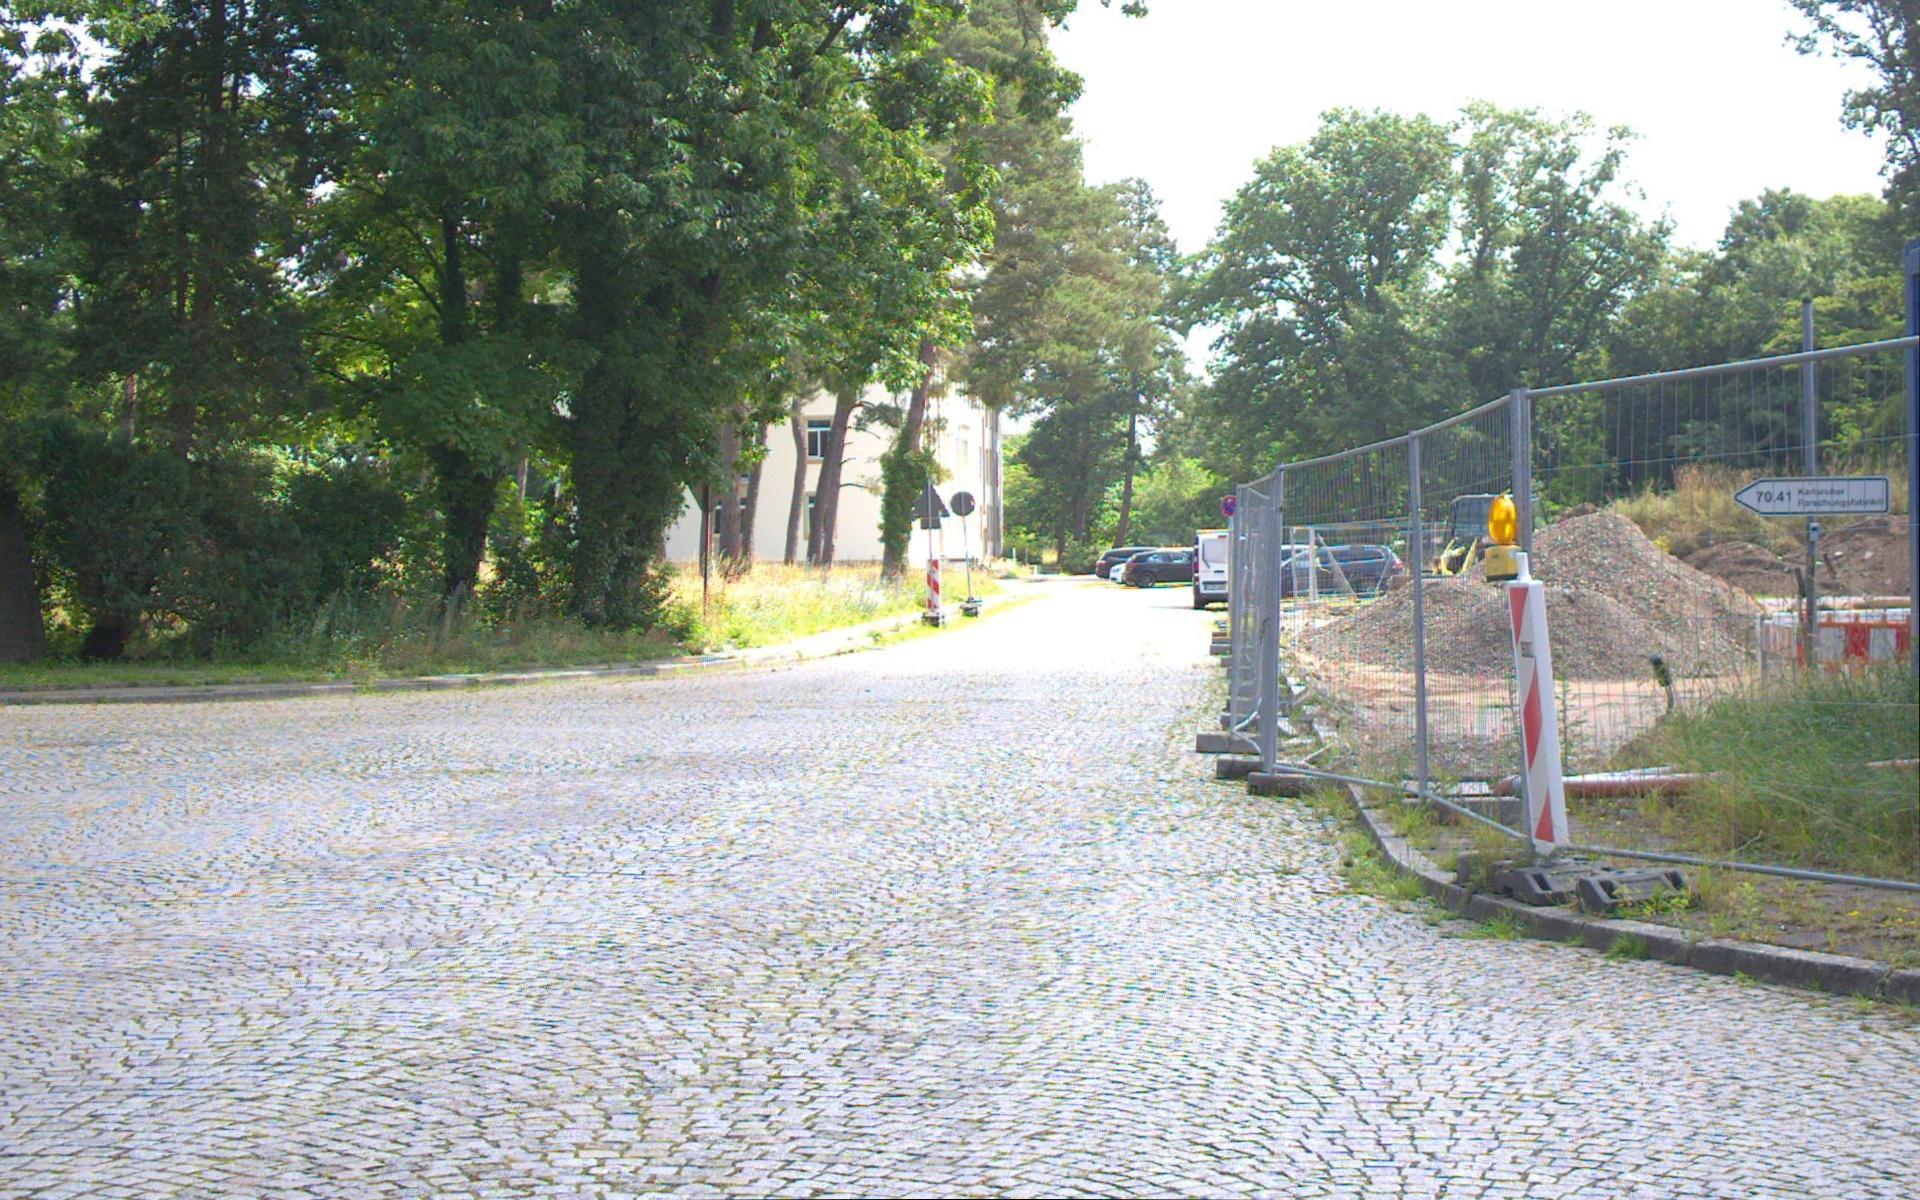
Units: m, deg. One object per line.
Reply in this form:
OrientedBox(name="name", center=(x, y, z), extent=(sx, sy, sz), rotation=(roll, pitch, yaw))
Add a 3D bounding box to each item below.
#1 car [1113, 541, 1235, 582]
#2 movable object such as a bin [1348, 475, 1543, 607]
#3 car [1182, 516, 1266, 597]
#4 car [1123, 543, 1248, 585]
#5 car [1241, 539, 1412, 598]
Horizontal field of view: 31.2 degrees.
OrientedBox(name="car", center=(8.647, -1.556, 139.192), extent=(4.779, 1.635, 2.000), rotation=(0, 1, -1))
OrientedBox(name="movable object such as a bin", center=(9.973, -1.206, 70.324), extent=(2.132, 2.584, 4.782), rotation=(1, 1, 33))
OrientedBox(name="car", center=(6.738, -1.113, 87.957), extent=(1.994, 2.007, 4.091), rotation=(0, 1, 2))
OrientedBox(name="car", center=(8.897, -1.427, 136.065), extent=(4.779, 1.635, 2.000), rotation=(0, 1, -1))
OrientedBox(name="car", center=(9.970, -0.863, 93.349), extent=(4.405, 1.505, 1.999), rotation=(1, 1, 12))
